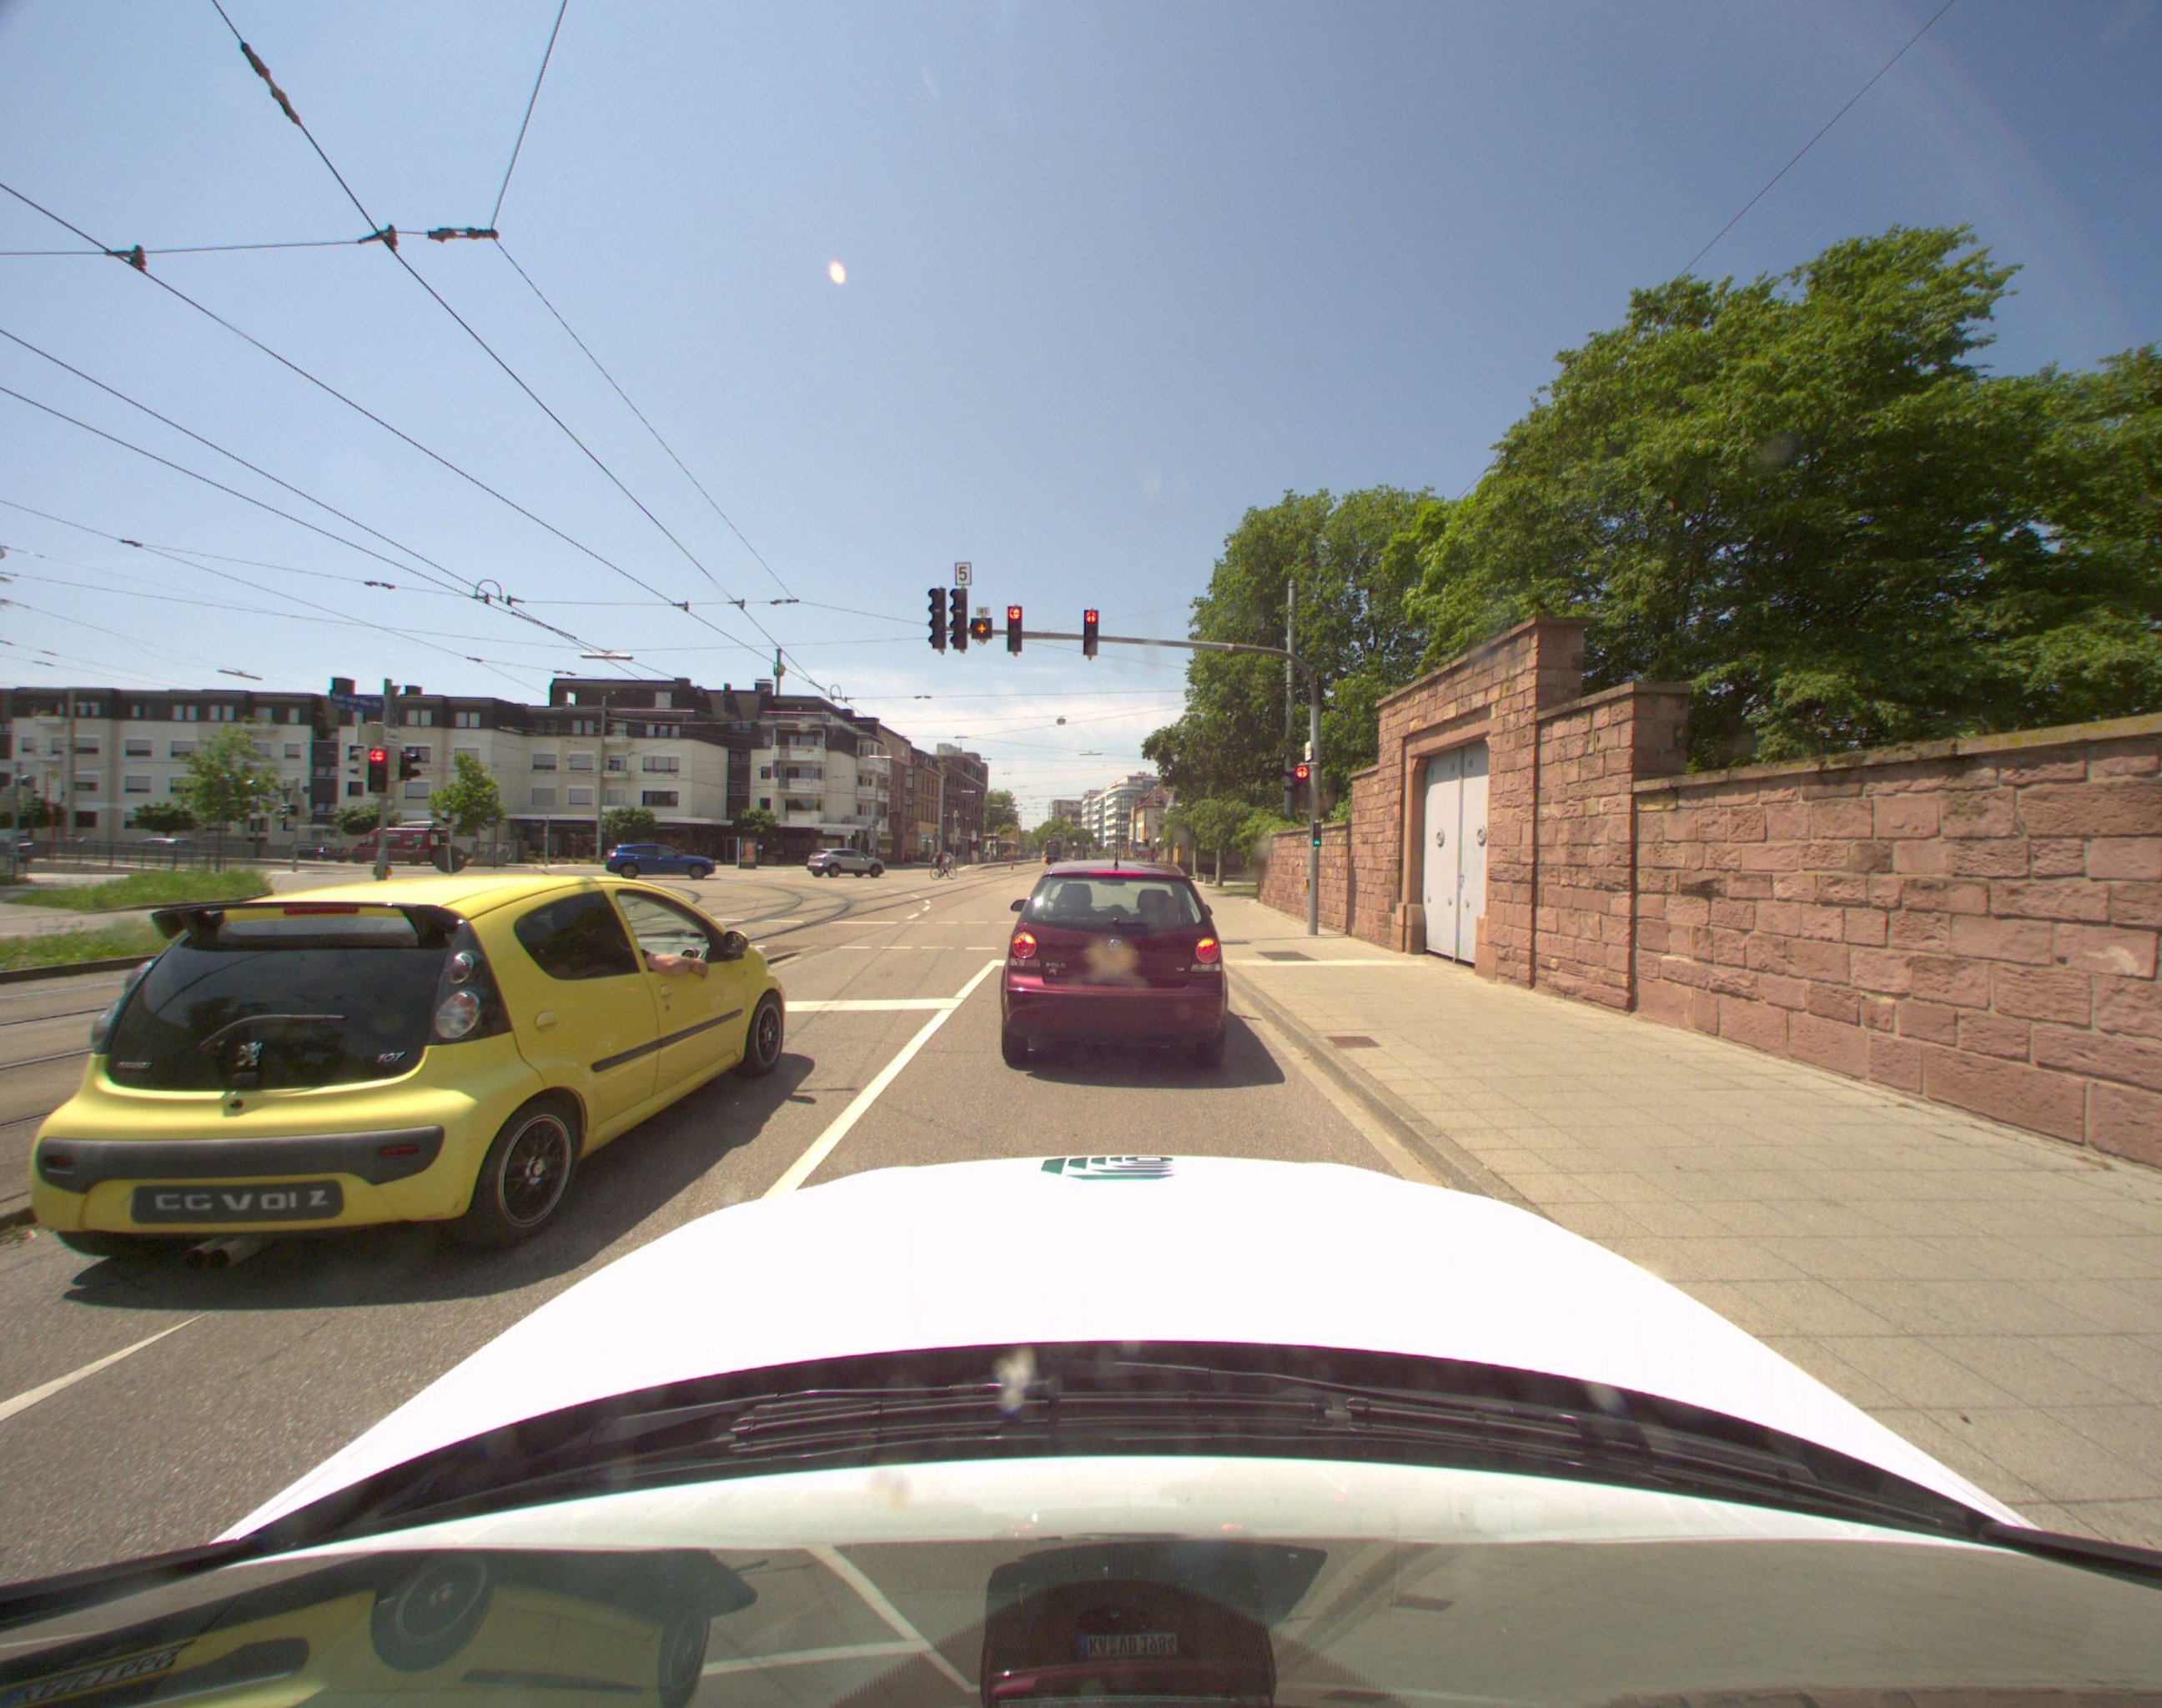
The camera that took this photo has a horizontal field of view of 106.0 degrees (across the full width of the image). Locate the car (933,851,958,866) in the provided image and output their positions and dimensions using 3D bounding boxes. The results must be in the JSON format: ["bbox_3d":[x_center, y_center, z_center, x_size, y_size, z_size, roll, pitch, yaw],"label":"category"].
[{"bbox_3d":[-13.650,0.461,82.144,1.682,1.462,4.003,1,0,3],"label":"car"}]

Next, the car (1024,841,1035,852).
[{"bbox_3d":[-9.655,-1.346,153.874,1.728,2.013,4.002,1,0,2],"label":"car"}]

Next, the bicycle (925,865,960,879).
[{"bbox_3d":[-7.907,1.007,46.458,1.996,0.783,0.461,0,-1,-38],"label":"bicycle"}]

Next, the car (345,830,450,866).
[{"bbox_3d":[-45.497,-0.396,54.313,5.048,2.341,2.244,0,-1,0],"label":"car"}]

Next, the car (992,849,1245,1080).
[{"bbox_3d":[0.265,0.713,7.302,1.604,1.463,4.085,1,0,0],"label":"car"}]

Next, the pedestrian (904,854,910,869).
[{"bbox_3d":[-18.015,0.777,84.182,0.482,1.541,0.538,0,-1,-1],"label":"pedestrian"}]

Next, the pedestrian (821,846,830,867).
[{"bbox_3d":[-21.945,0.234,69.863,0.614,1.754,0.499,1,-2,-43],"label":"pedestrian"}]

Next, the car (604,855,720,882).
[{"bbox_3d":[-19.988,0.661,39.005,4.796,1.237,1.922,0,-1,-28],"label":"car"}]

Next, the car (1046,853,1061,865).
[{"bbox_3d":[-3.898,0.740,116.293,1.931,1.641,4.000,0,-1,1],"label":"car"}]

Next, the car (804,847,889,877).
[{"bbox_3d":[-13.001,0.468,45.240,1.915,1.584,4.177,-1,-1,41],"label":"car"}]

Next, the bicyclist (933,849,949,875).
[{"bbox_3d":[-7.963,0.460,46.413,0.756,1.501,0.476,0,-1,-38],"label":"bicyclist"}]

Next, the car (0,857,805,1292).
[{"bbox_3d":[-2.980,0.772,4.471,1.717,1.445,3.293,-1,0,1],"label":"car"}]

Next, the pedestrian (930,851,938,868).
[{"bbox_3d":[-16.109,0.611,89.352,0.659,1.787,0.815,1,0,1],"label":"pedestrian"}]
